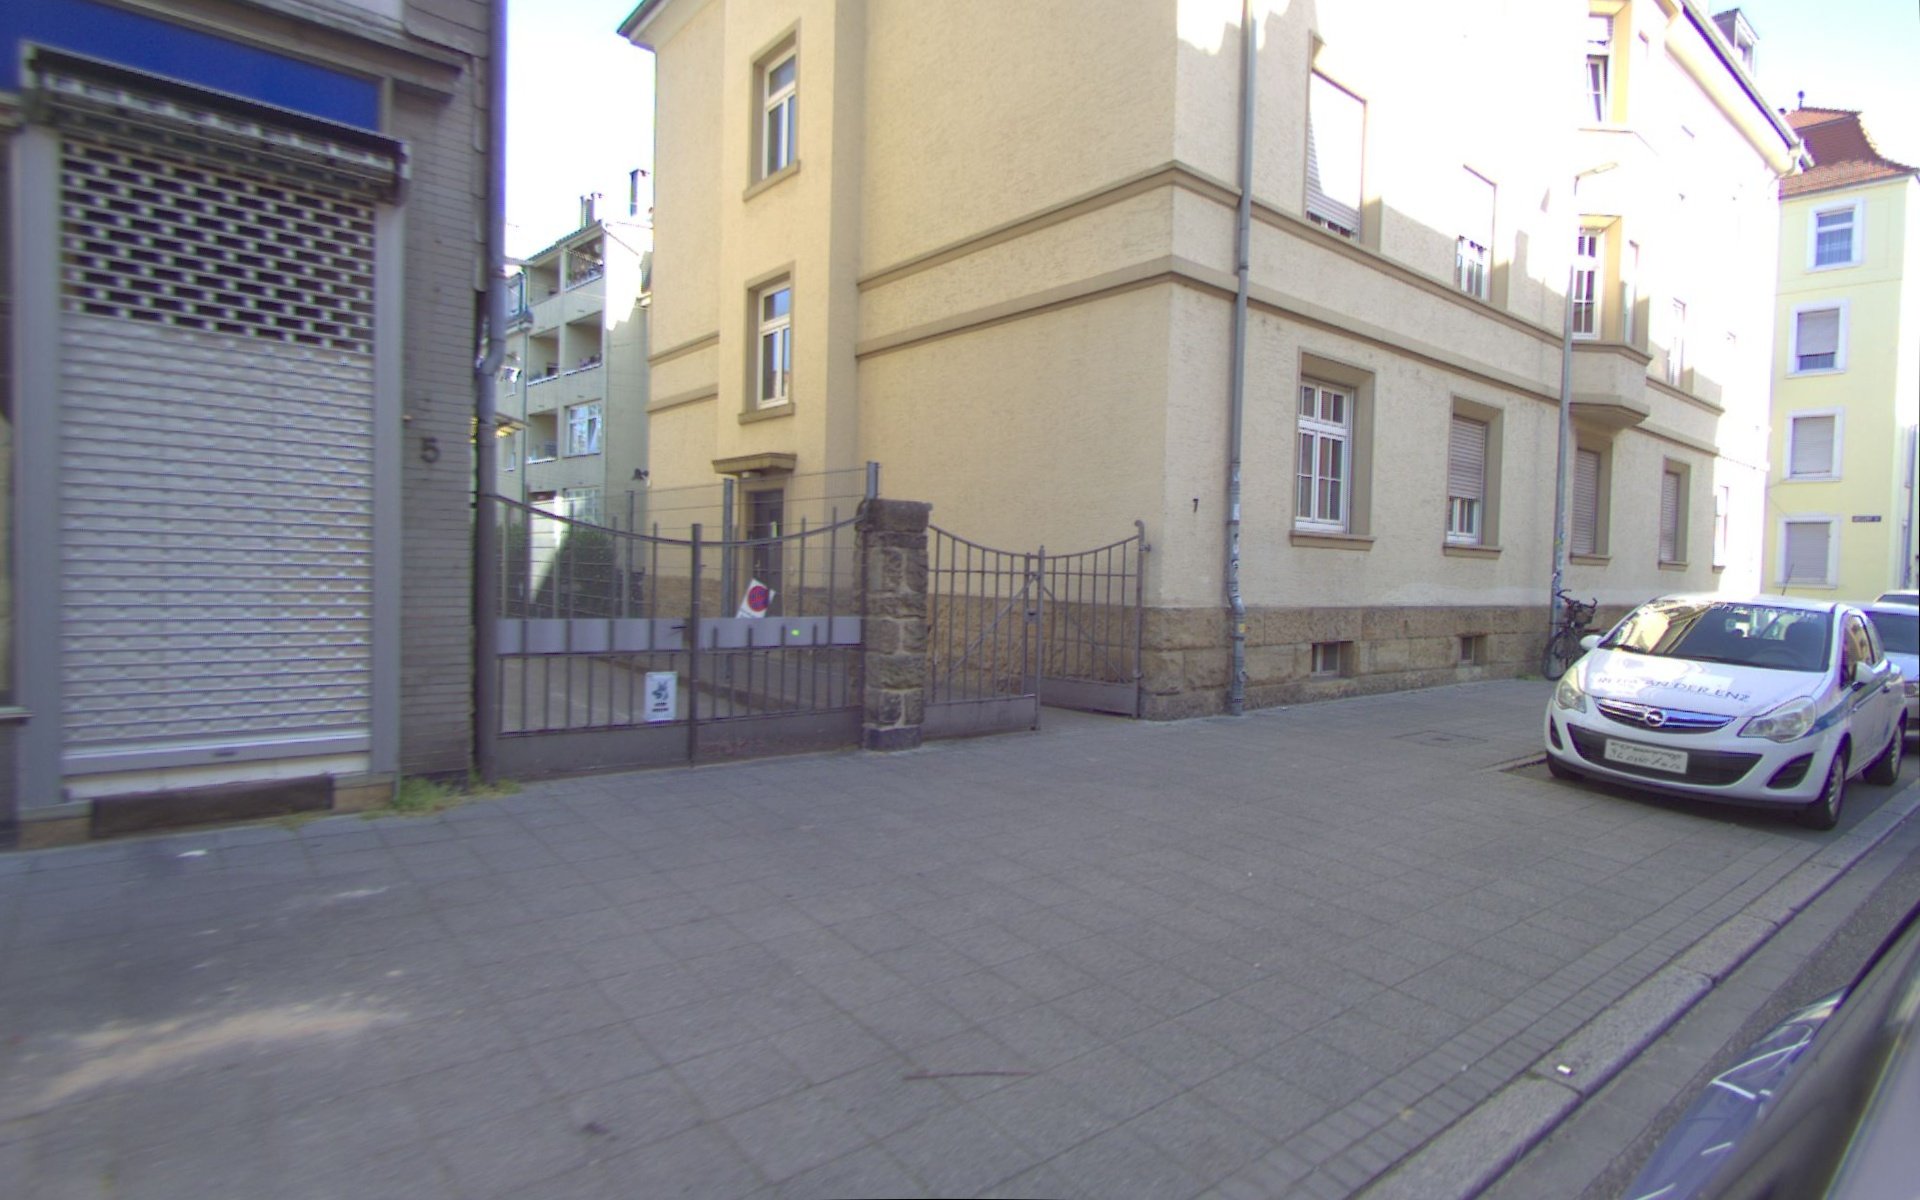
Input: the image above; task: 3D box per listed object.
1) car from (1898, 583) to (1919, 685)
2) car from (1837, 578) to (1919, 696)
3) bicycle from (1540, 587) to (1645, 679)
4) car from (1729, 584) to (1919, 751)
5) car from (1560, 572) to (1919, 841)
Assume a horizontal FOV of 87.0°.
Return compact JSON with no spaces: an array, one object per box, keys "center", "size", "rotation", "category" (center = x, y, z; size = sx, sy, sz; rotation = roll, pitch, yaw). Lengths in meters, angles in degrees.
[{"center":[17.992,0.609,17.572],"size":[4.353,1.685,1.792],"rotation":[0,2,-38],"category":"car"},{"center":[14.554,0.530,14.904],"size":[3.842,1.565,1.685],"rotation":[0,3,-38],"category":"car"},{"center":[9.169,0.439,14.639],"size":[1.924,1.216,0.830],"rotation":[0,2,-45],"category":"bicycle"},{"center":[9.998,0.621,11.054],"size":[4.021,1.482,1.656],"rotation":[0,2,-40],"category":"car"},{"center":[6.029,0.593,7.545],"size":[3.647,1.482,1.589],"rotation":[0,2,-41],"category":"car"}]
